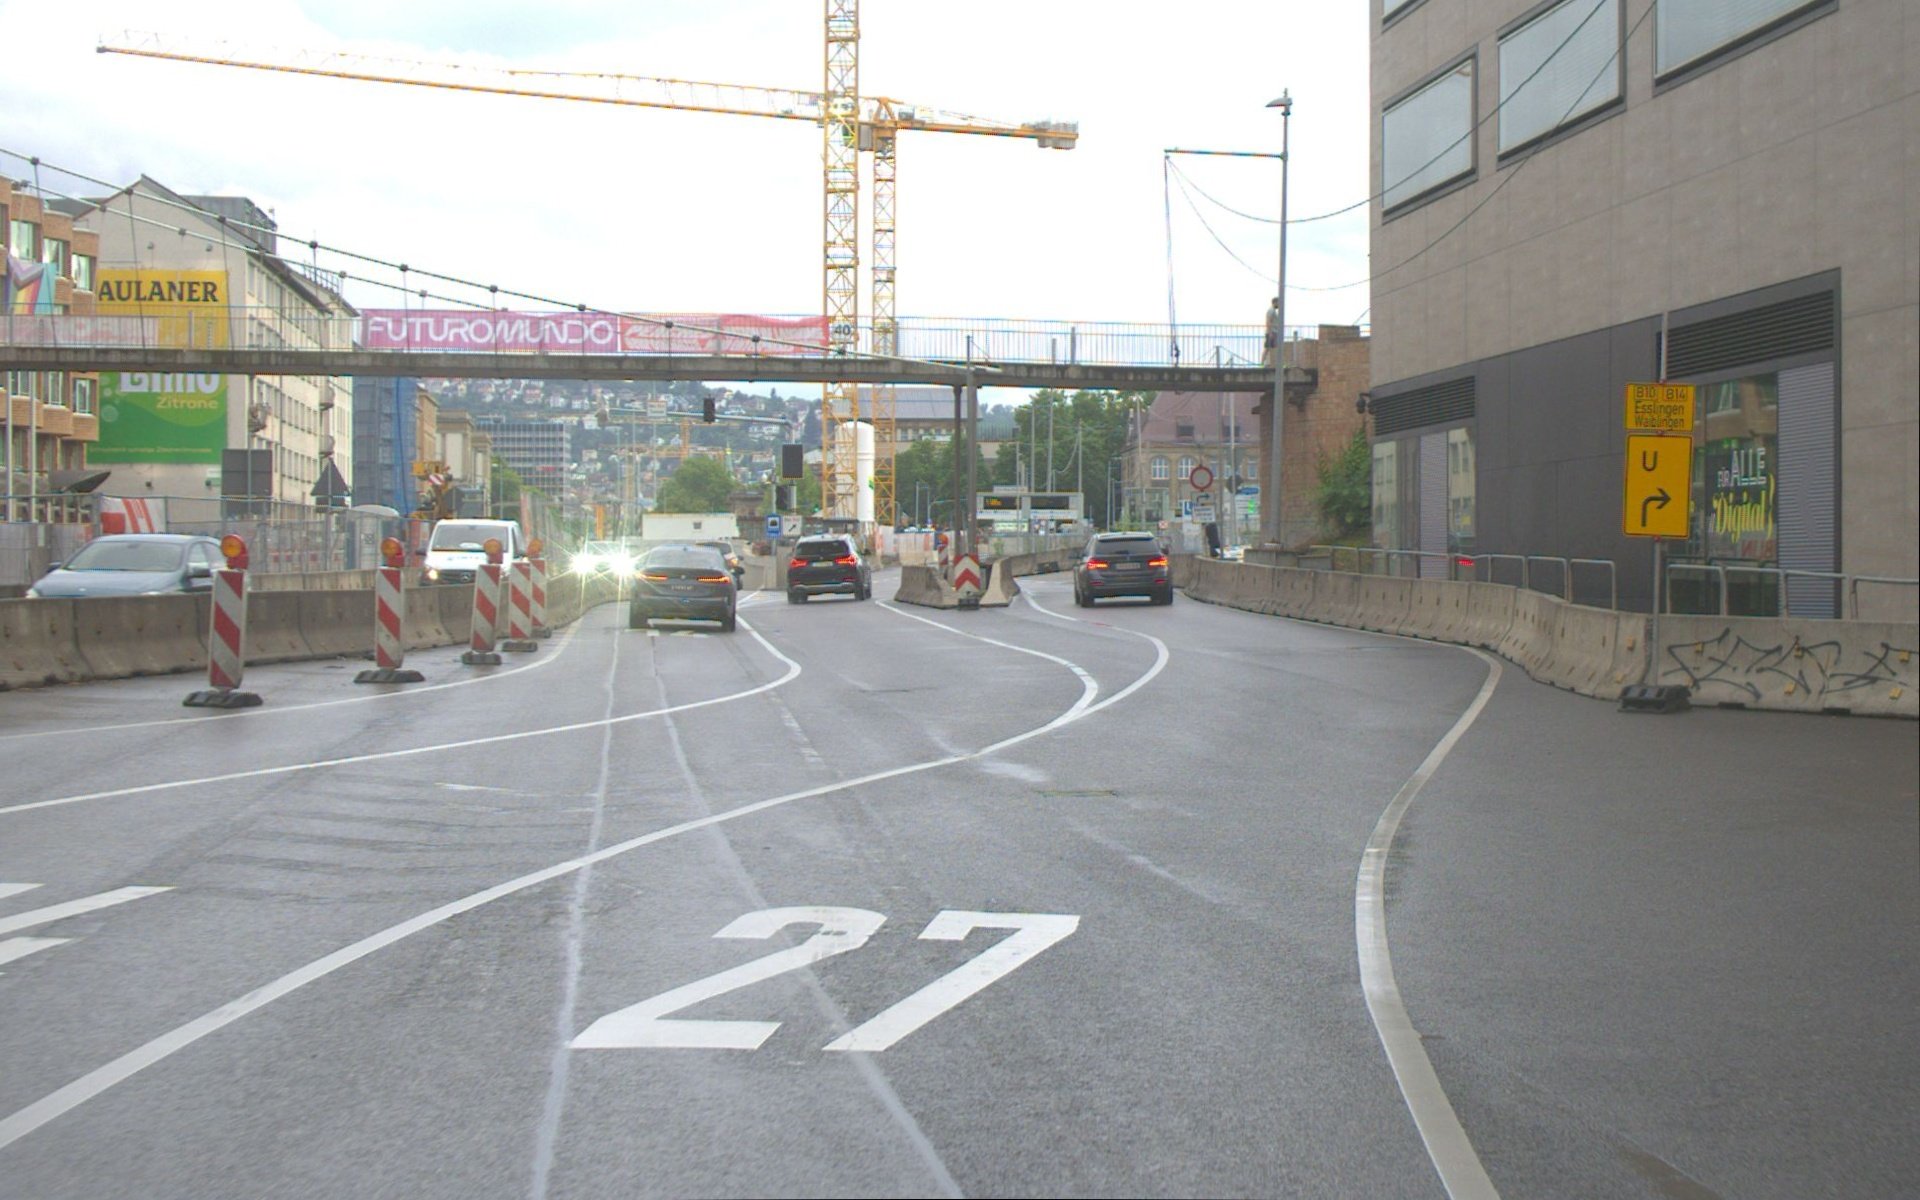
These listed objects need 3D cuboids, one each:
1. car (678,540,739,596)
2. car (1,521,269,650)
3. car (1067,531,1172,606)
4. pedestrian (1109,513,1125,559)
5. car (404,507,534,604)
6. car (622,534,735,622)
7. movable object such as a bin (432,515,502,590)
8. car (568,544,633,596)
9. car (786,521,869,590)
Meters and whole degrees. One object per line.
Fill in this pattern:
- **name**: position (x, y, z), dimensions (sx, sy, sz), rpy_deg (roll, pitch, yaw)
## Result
- **car**: position (-8.223, -1.049, 112.061), dimensions (1.862, 1.759, 4.657), rpy_deg (0, 1, -6)
- **car**: position (-9.864, -0.206, 41.425), dimensions (1.994, 1.454, 4.228), rpy_deg (0, 1, 3)
- **car**: position (3.152, -0.660, 68.727), dimensions (1.863, 1.428, 4.656), rpy_deg (0, 1, 0)
- **pedestrian**: position (6.968, -2.846, 152.425), dimensions (0.626, 2.007, 0.663), rpy_deg (0, 1, 8)
- **car**: position (-9.828, -0.915, 69.137), dimensions (1.993, 1.878, 4.870), rpy_deg (0, 1, -1)
- **car**: position (-4.842, -0.413, 59.307), dimensions (1.862, 1.438, 4.657), rpy_deg (0, 1, -4)
- **movable object such as a bin**: position (-15.902, -1.536, 111.046), dimensions (2.026, 2.269, 4.294), rpy_deg (-3, 1, -7)
- **car**: position (-12.127, -1.024, 116.062), dimensions (1.993, 1.617, 4.703), rpy_deg (0, 2, -4)
- **car**: position (-3.260, -1.126, 85.181), dimensions (1.863, 1.655, 4.656), rpy_deg (0, 1, 0)
